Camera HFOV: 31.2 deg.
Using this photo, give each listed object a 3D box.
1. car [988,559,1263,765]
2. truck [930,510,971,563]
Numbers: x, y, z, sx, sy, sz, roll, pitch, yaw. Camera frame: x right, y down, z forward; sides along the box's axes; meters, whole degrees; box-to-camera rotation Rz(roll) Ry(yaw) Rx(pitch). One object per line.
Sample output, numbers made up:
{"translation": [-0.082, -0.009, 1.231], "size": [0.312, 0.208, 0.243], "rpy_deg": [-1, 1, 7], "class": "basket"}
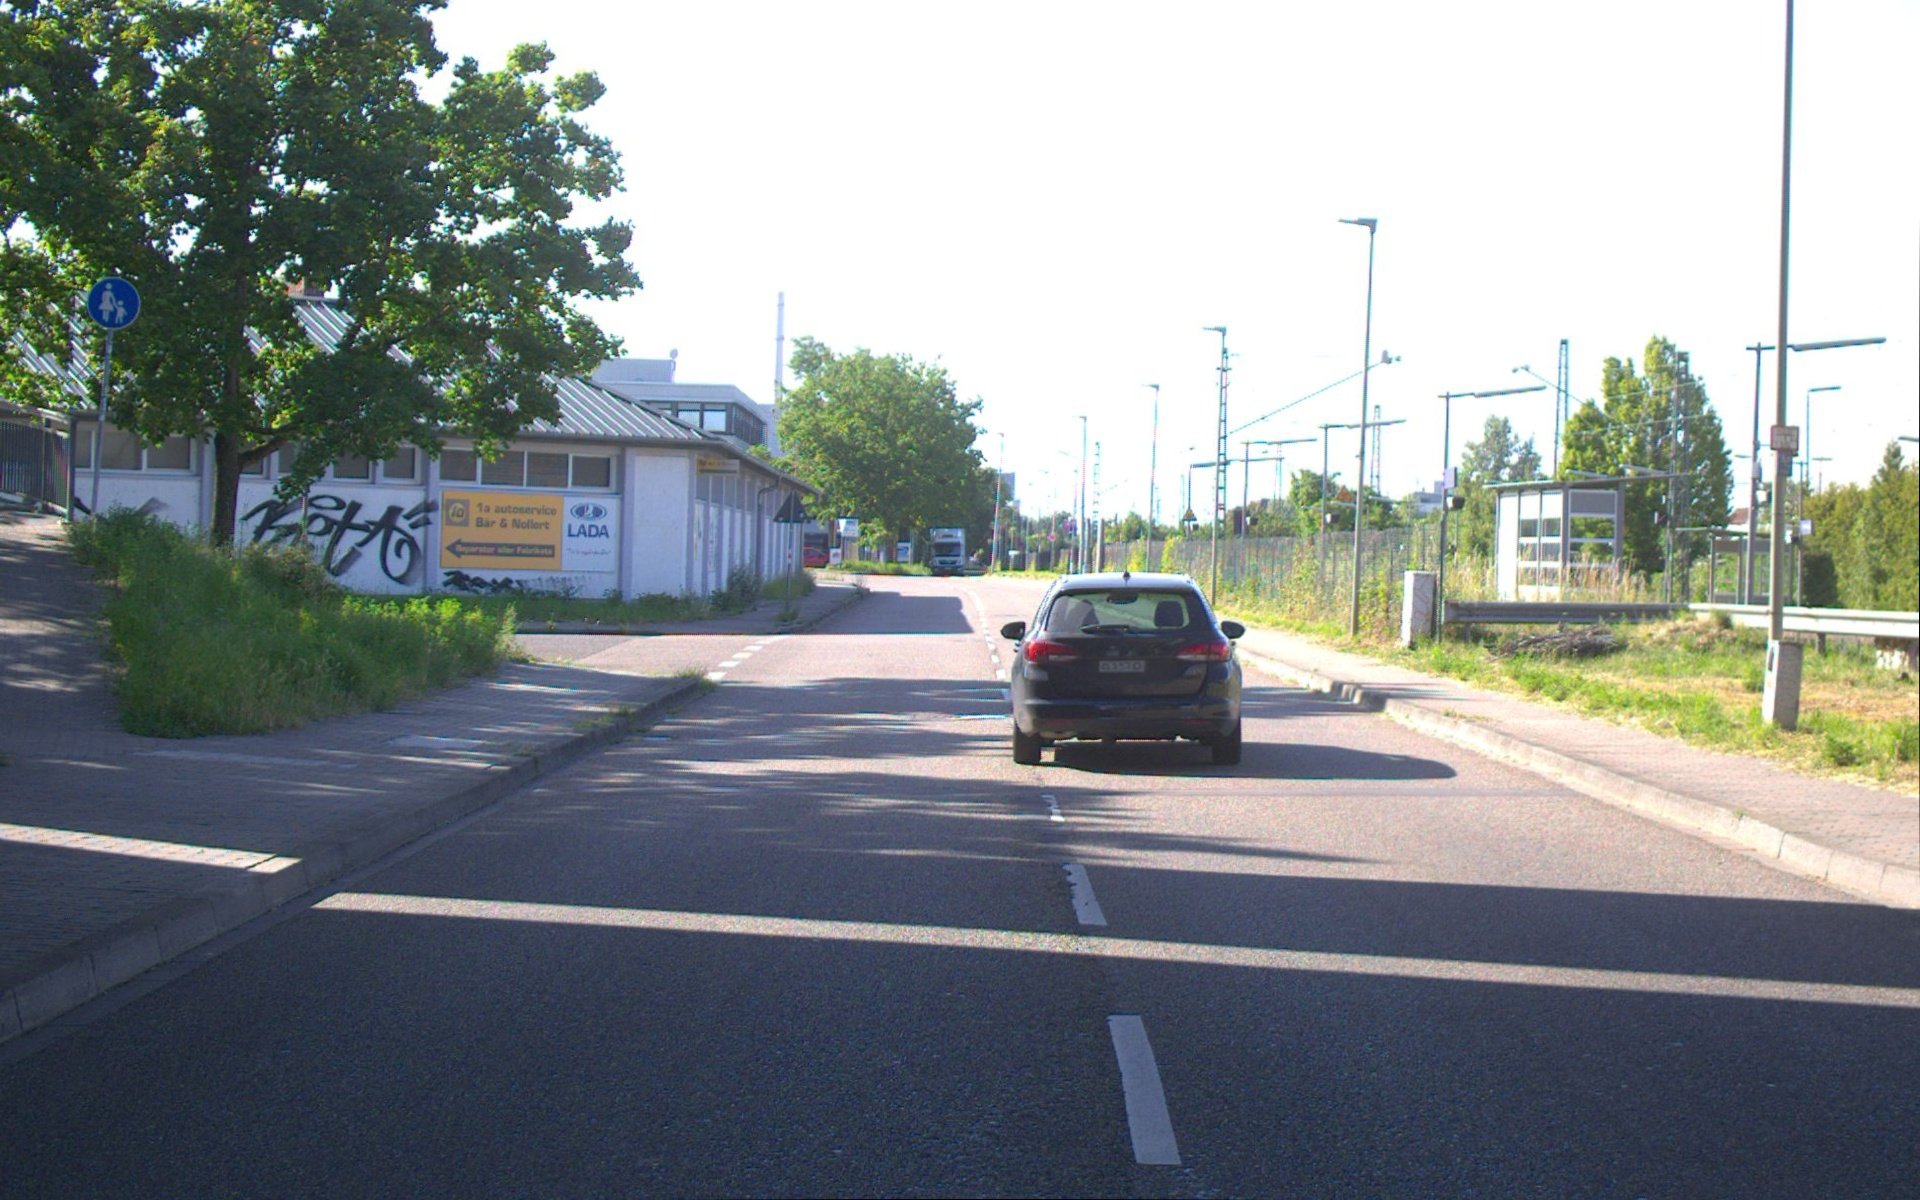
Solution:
{"translation": [1.231, 0.430, 27.501], "size": [1.942, 1.483, 4.565], "rpy_deg": [0, 1, 0], "class": "car"}
{"translation": [-0.761, -4.852, 262.802], "size": [2.613, 3.872, 13.533], "rpy_deg": [2, 1, -2], "class": "truck"}
